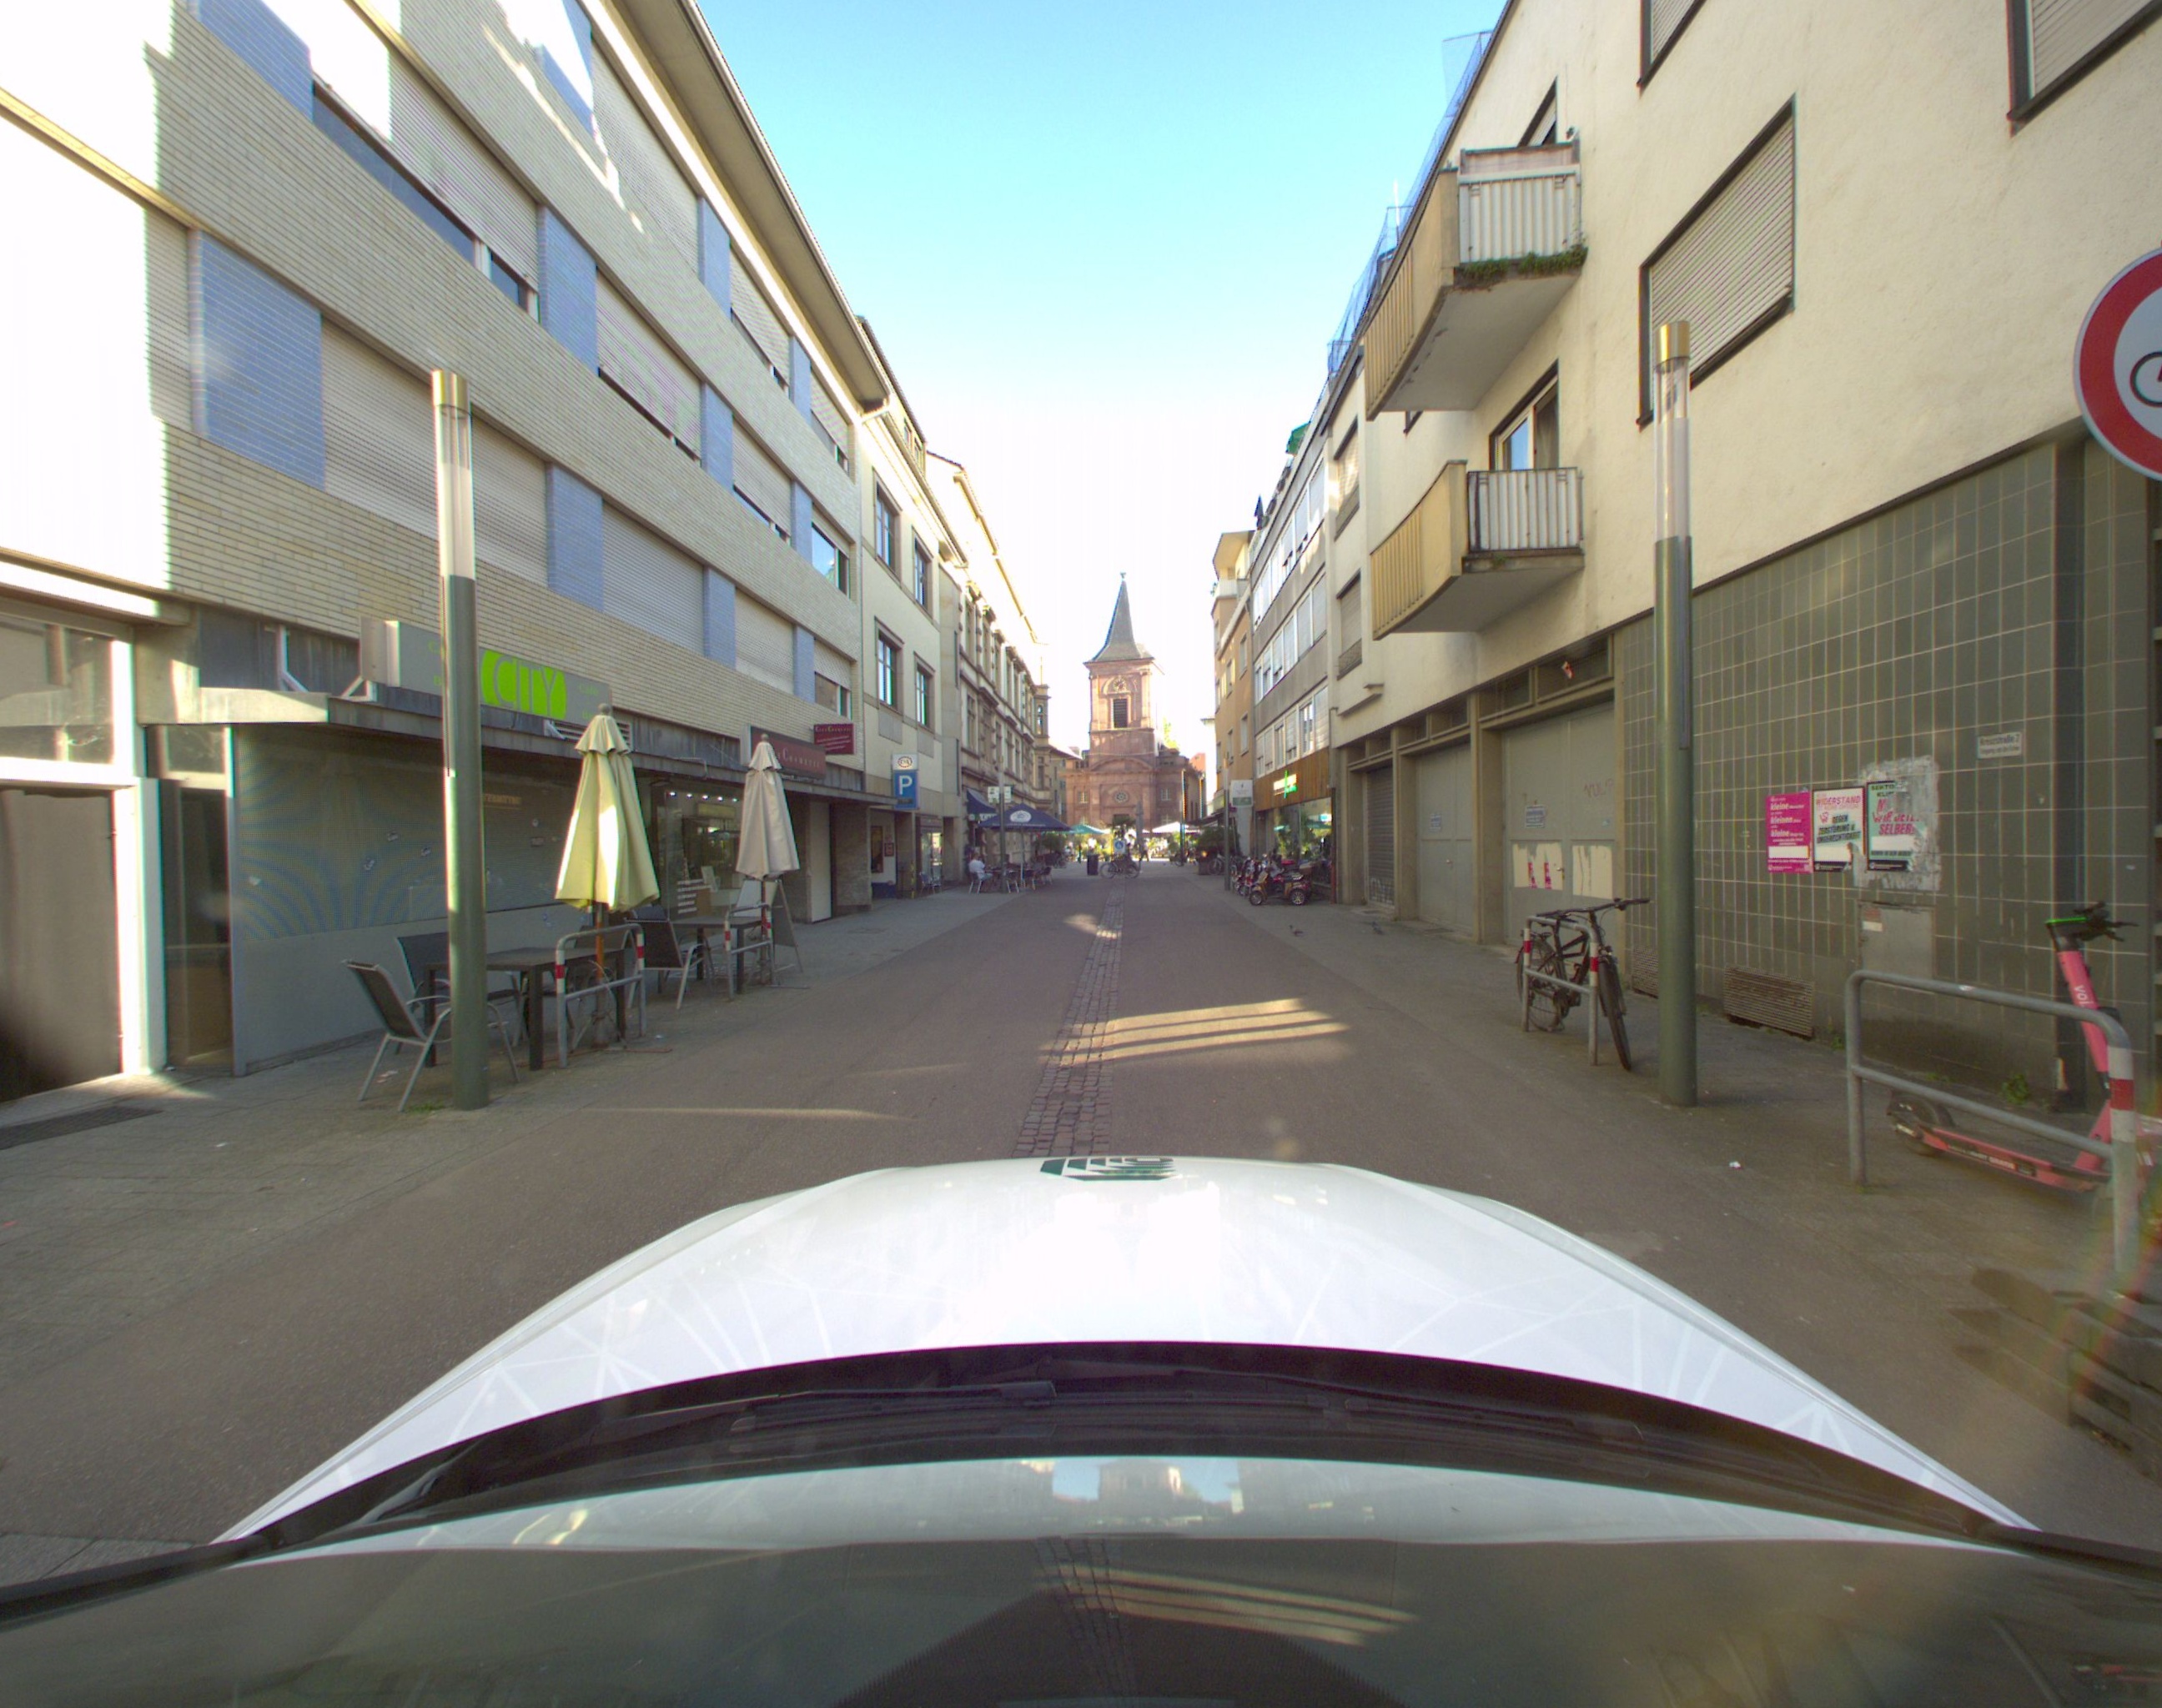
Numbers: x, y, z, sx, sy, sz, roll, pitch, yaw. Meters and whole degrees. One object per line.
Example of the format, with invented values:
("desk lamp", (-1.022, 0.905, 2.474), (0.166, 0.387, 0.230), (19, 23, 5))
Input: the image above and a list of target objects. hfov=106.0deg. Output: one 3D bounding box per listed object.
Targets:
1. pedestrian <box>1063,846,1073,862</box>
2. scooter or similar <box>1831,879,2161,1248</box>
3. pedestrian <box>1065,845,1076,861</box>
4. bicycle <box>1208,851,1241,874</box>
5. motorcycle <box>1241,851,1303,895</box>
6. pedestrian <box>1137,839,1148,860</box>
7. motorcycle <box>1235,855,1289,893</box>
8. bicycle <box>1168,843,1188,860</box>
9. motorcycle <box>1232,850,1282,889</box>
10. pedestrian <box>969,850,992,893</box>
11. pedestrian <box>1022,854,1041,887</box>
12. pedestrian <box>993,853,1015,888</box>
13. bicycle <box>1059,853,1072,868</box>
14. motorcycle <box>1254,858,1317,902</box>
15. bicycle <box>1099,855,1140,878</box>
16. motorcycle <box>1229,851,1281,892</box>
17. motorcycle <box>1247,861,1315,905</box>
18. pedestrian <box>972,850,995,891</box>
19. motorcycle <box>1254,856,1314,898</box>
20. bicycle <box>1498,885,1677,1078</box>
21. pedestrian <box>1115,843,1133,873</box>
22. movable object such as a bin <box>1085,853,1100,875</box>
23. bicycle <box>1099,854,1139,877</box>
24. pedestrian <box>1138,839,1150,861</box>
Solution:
("pedestrian", (-1.014, -0.002, 63.725), (0.696, 1.218, 0.721), (-1, 0, 9))
("scooter or similar", (3.957, 0.759, 3.498), (0.306, 1.252, 1.239), (-1, 0, 0))
("pedestrian", (-0.828, -0.084, 65.150), (0.696, 1.218, 0.721), (-1, 0, 9))
("bicycle", (6.438, 0.393, 36.570), (1.454, 1.005, 0.574), (-1, 0, 10))
("motorcycle", (5.359, 0.540, 22.868), (1.611, 1.175, 0.483), (-1, 0, 21))
("pedestrian", (4.900, -0.339, 64.781), (0.616, 1.641, 0.650), (-1, 1, -42))
("motorcycle", (5.248, 0.587, 23.647), (1.471, 1.075, 0.414), (-1, 0, 21))
("bicycle", (7.474, -0.190, 62.754), (1.594, 1.308, 0.362), (-1, 1, -26))
("motorcycle", (5.522, 0.493, 25.581), (1.472, 1.181, 0.414), (-2, 0, 18))
("pedestrian", (-3.320, 0.575, 26.946), (0.708, 1.368, 0.718), (-1, 1, -9))
("pedestrian", (-1.867, 0.607, 30.535), (0.691, 1.215, 0.582), (-1, 1, -5))
("pedestrian", (-2.808, 0.609, 29.771), (0.763, 1.233, 0.830), (-1, 1, -5))
("bicycle", (-0.948, 0.370, 49.548), (0.454, 0.850, 2.150), (-1, 1, 7))
("motorcycle", (5.189, 0.654, 20.681), (1.503, 1.075, 0.414), (-1, 0, 21))
("bicycle", (1.746, 0.571, 37.074), (1.818, 1.005, 0.381), (-1, 0, -1))
("motorcycle", (5.237, 0.527, 24.532), (1.472, 1.181, 0.414), (-2, 0, 18))
("motorcycle", (4.880, 0.714, 19.932), (1.550, 1.041, 0.374), (-1, 0, 21))
("pedestrian", (-3.355, 0.552, 27.950), (0.717, 1.368, 0.708), (-1, 1, -9))
("motorcycle", (5.393, 0.610, 21.679), (1.471, 1.075, 0.414), (-1, 0, 21))
("bicycle", (3.597, 0.826, 5.938), (0.444, 1.140, 1.714), (-1, -1, 8))
("pedestrian", (2.209, 0.203, 41.602), (0.880, 1.464, 0.731), (-1, 0, 3))
("movable object such as a bin", (0.590, 0.481, 40.422), (0.719, 1.074, 0.374), (-1, 0, 1))
("bicycle", (1.745, 0.520, 37.470), (1.818, 1.005, 0.381), (-1, 0, -1))
("pedestrian", (4.510, -0.319, 58.570), (0.779, 1.555, 0.536), (-1, 0, 7))
